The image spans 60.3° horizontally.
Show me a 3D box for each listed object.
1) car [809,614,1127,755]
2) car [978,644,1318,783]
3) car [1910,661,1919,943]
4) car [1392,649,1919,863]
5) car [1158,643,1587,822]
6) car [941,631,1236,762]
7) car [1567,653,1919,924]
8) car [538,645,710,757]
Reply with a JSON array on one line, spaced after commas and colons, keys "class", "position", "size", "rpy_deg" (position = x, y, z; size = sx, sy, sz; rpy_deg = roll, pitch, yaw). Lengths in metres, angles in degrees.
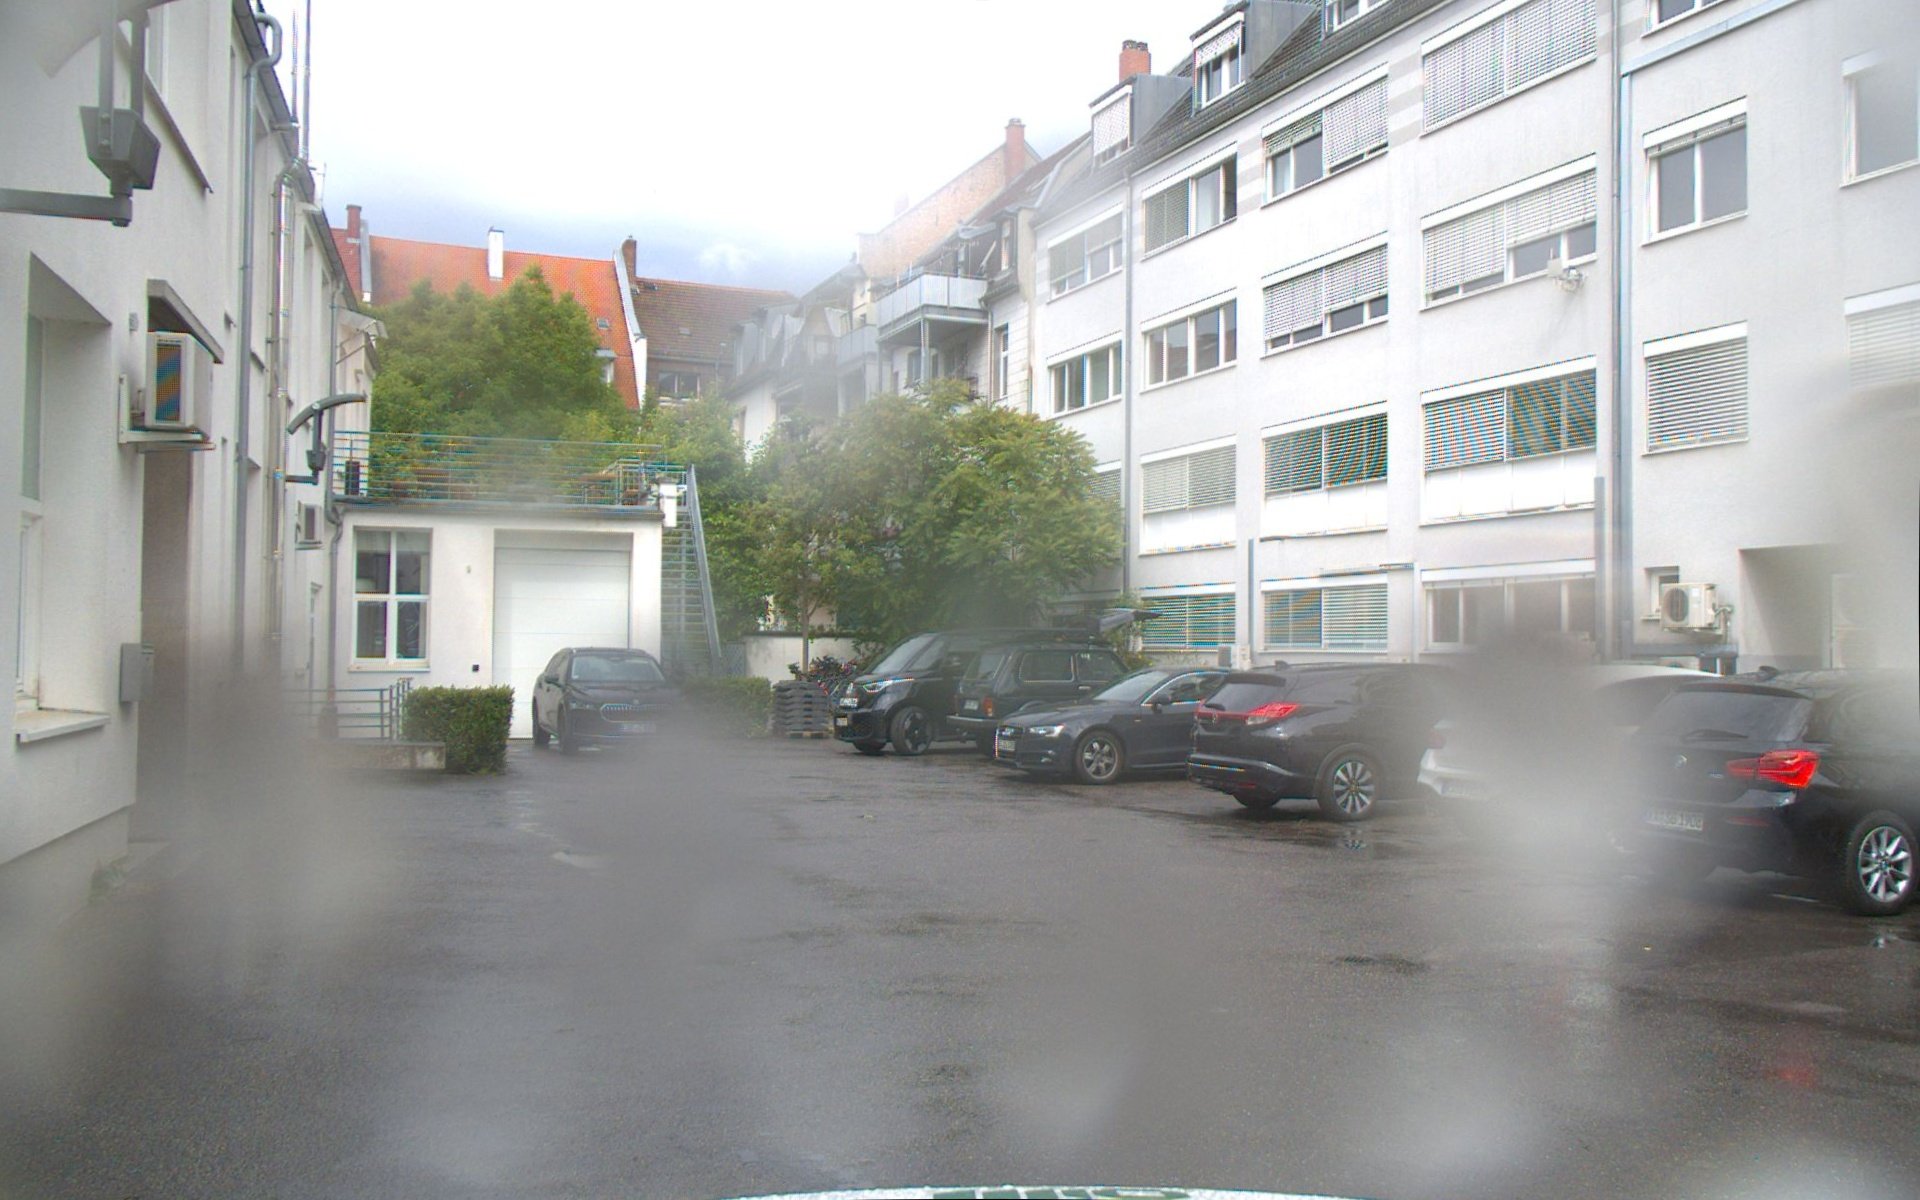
[{"class": "car", "position": [0.134, 1.260, 26.234], "size": [4.581, 2.038, 2.205], "rpy_deg": [0, -1, -28]}, {"class": "car", "position": [2.331, 1.351, 20.607], "size": [3.855, 1.540, 1.740], "rpy_deg": [0, -2, -23]}, {"class": "car", "position": [7.124, 1.013, 8.501], "size": [3.929, 1.471, 1.795], "rpy_deg": [-1, -1, -21]}, {"class": "car", "position": [5.665, 1.165, 13.427], "size": [3.932, 1.484, 1.761], "rpy_deg": [0, -2, -23]}, {"class": "car", "position": [4.096, 1.238, 16.451], "size": [3.858, 1.540, 1.805], "rpy_deg": [0, -2, -25]}, {"class": "car", "position": [1.831, 1.344, 23.892], "size": [3.849, 1.717, 1.807], "rpy_deg": [0, -2, -19]}, {"class": "car", "position": [6.206, 1.114, 10.977], "size": [3.932, 1.427, 1.761], "rpy_deg": [-1, -1, -22]}, {"class": "car", "position": [-4.984, 1.413, 24.150], "size": [1.949, 1.469, 3.978], "rpy_deg": [1, -2, -19]}]
